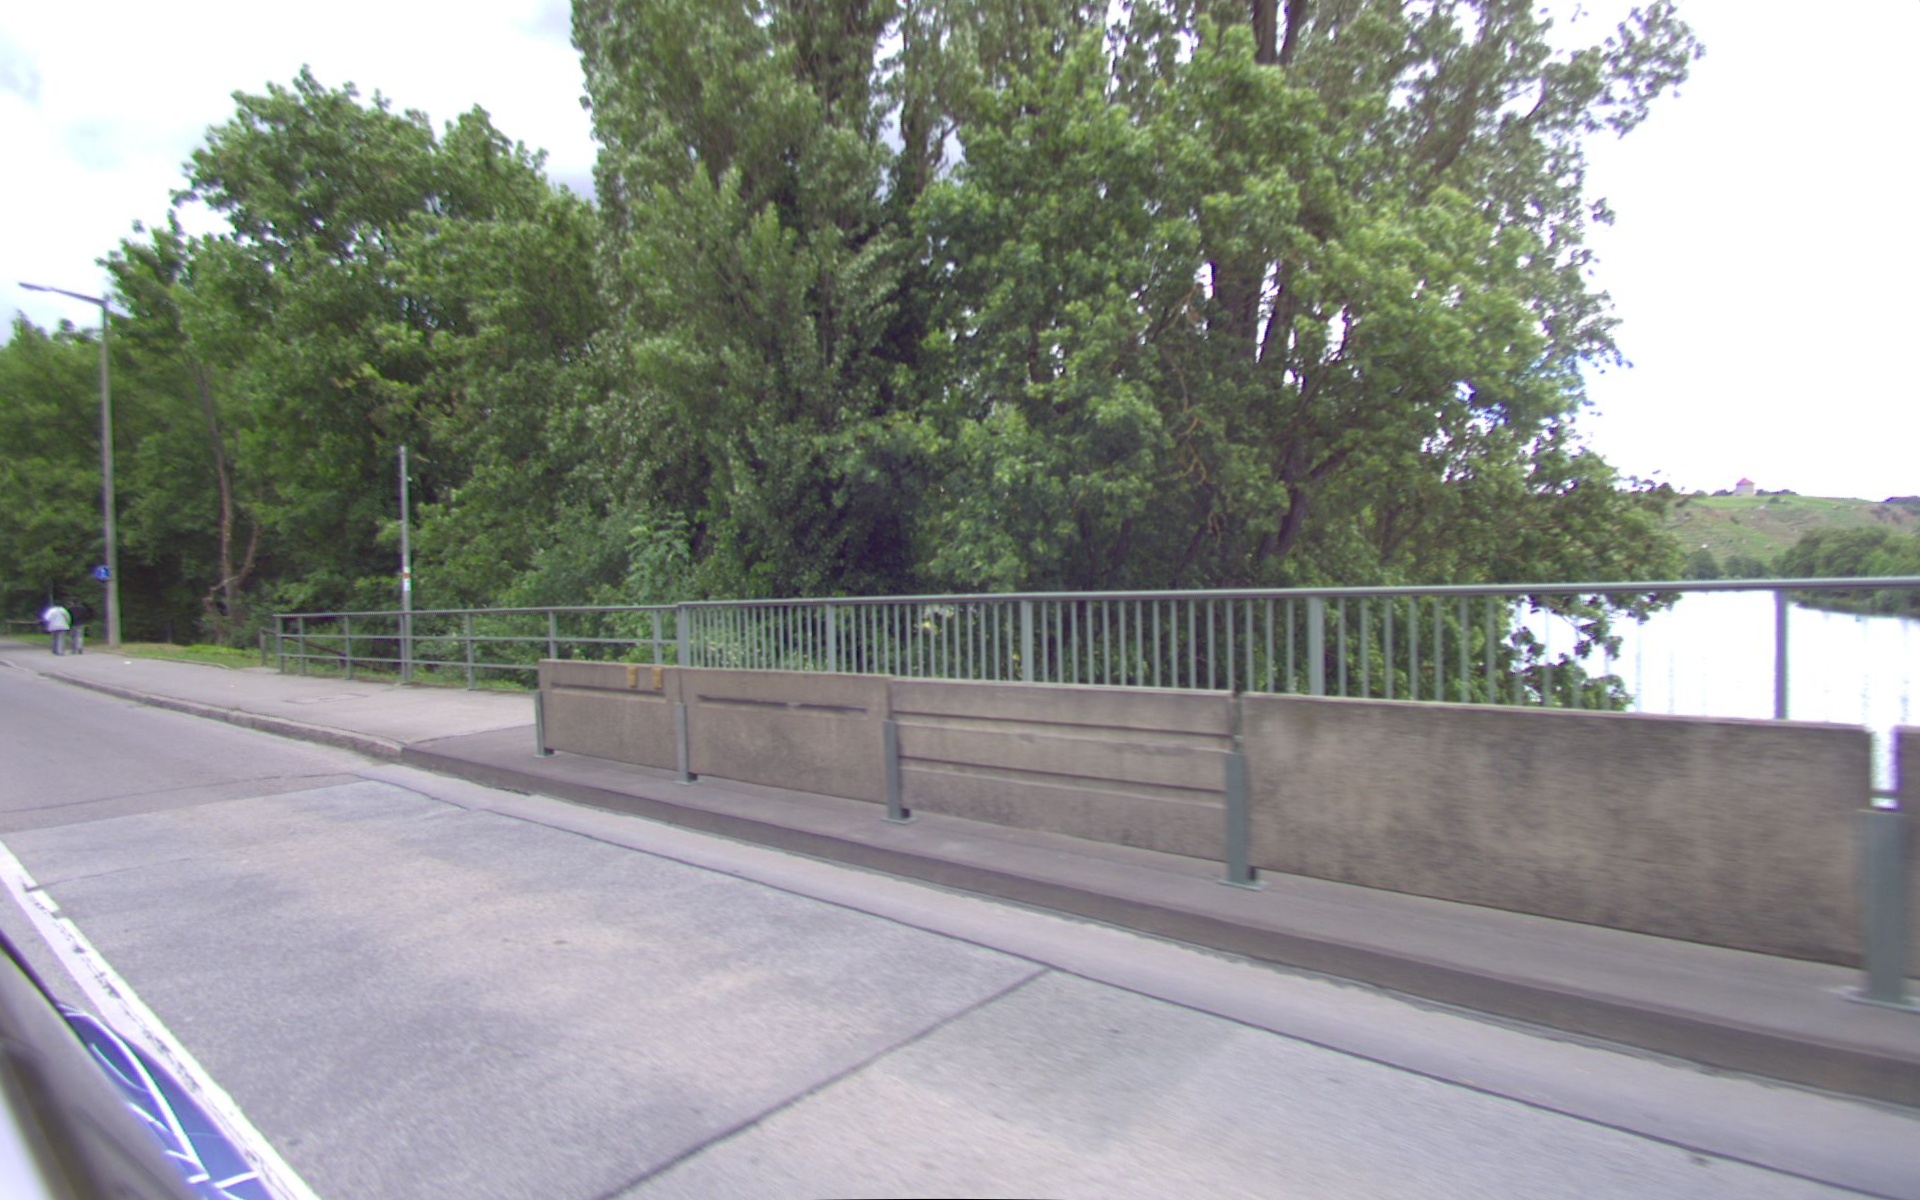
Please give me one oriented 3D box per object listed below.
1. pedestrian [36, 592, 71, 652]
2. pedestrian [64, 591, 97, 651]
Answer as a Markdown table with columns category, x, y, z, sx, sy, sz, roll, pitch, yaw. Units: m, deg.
| category | x | y | z | sx | sy | sz | roll | pitch | yaw |
| --- | --- | --- | --- | --- | --- | --- | --- | --- | --- |
| pedestrian | -27.758 | 0.672 | 30.992 | 0.857 | 1.778 | 0.546 | -1 | 4 | 39 |
| pedestrian | -27.385 | 0.650 | 31.518 | 0.821 | 1.816 | 0.581 | -1 | 2 | 39 |
